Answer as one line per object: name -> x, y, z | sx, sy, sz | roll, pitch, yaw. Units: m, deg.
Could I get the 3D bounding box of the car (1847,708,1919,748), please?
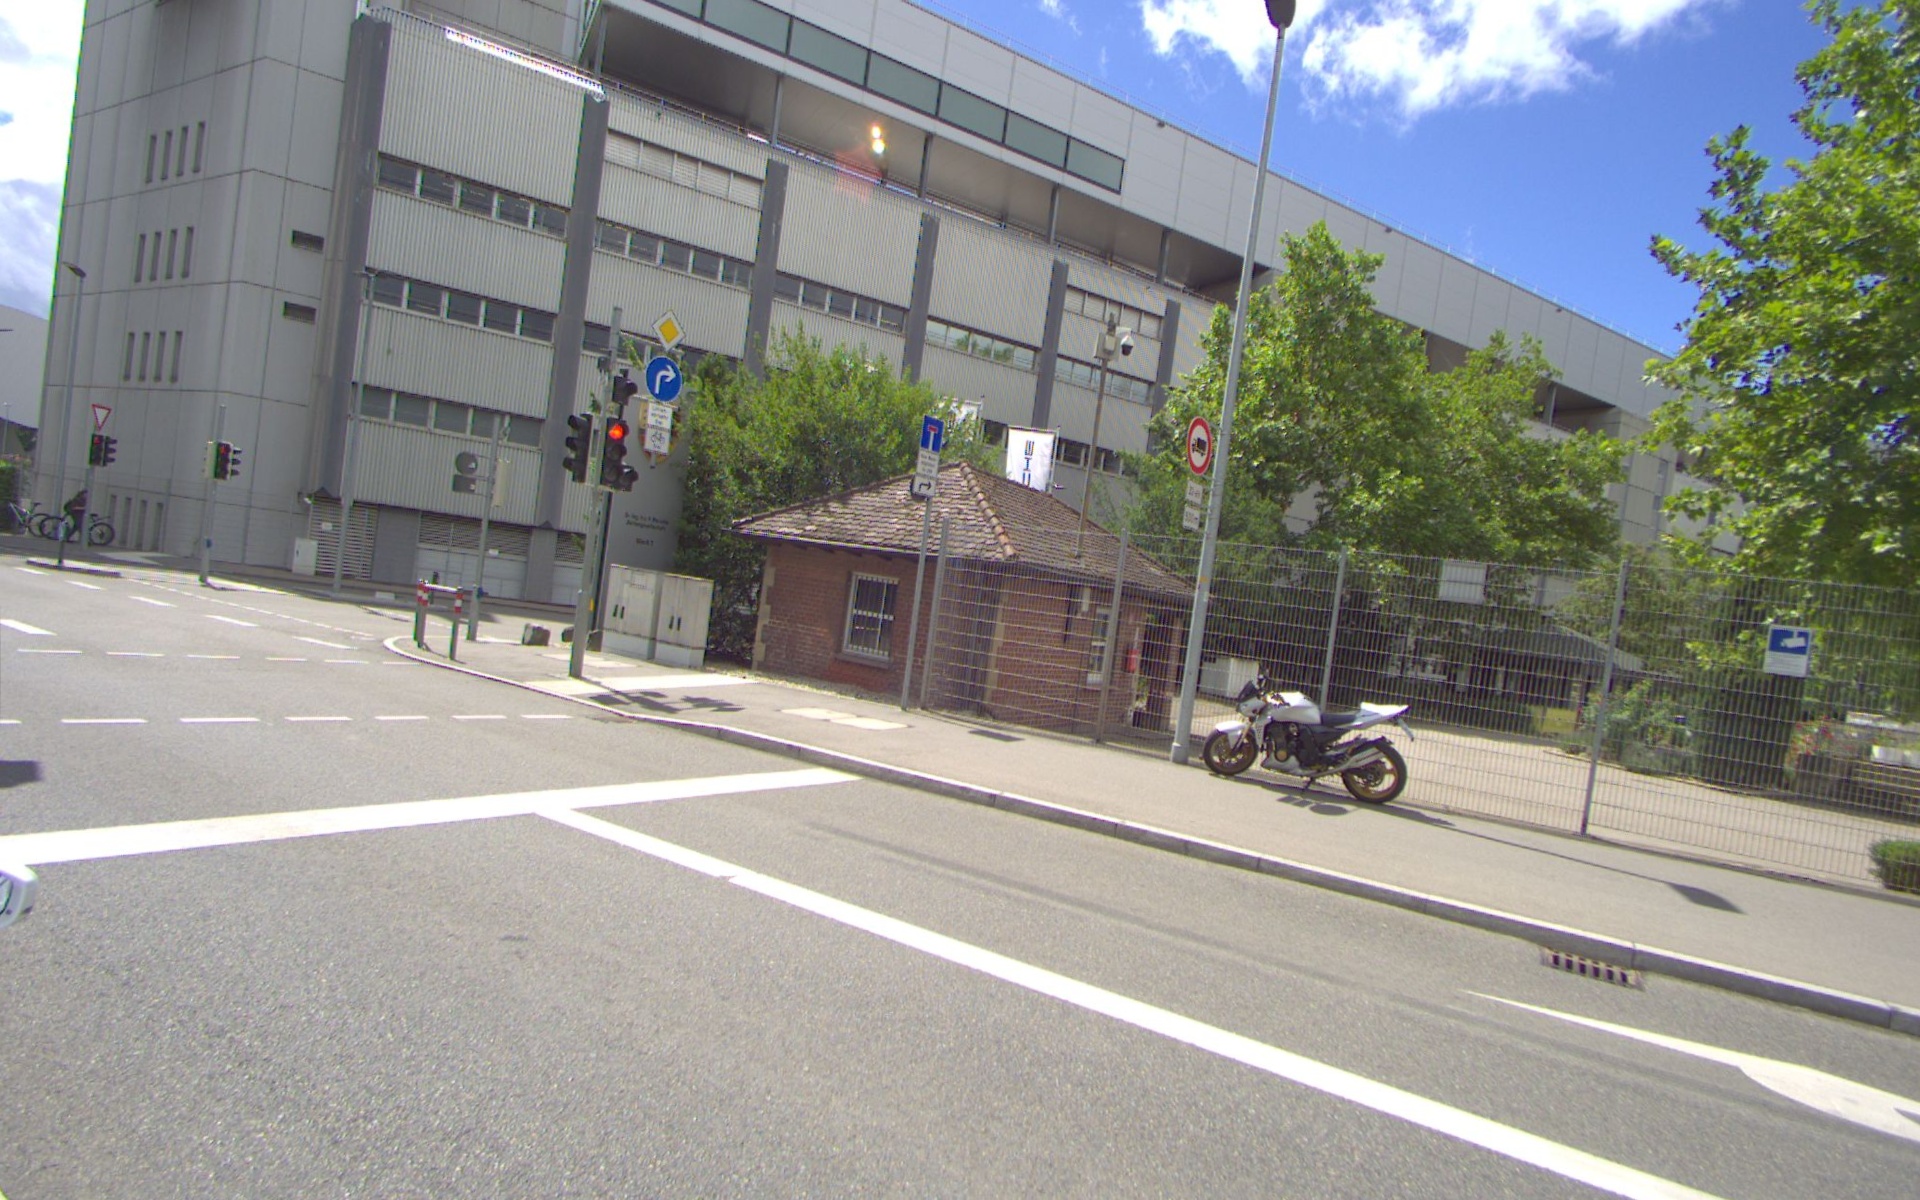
car -> 53.055, 7.288, 56.781 | 1.979, 1.803, 3.971 | 8, -2, -30

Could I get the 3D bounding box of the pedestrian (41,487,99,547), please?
pedestrian -> -26.750, -2.474, 30.243 | 0.837, 1.644, 0.953 | 7, 0, -17

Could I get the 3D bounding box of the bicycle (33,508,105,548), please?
bicycle -> -27.251, -2.204, 30.758 | 1.892, 0.948, 0.399 | 7, 0, 6

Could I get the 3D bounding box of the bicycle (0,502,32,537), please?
bicycle -> -29.675, -2.538, 31.073 | 1.891, 0.948, 0.399 | 7, 0, 13

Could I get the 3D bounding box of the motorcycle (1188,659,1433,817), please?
motorcycle -> 3.454, 1.311, 9.986 | 2.110, 1.173, 0.693 | 7, 2, 27
